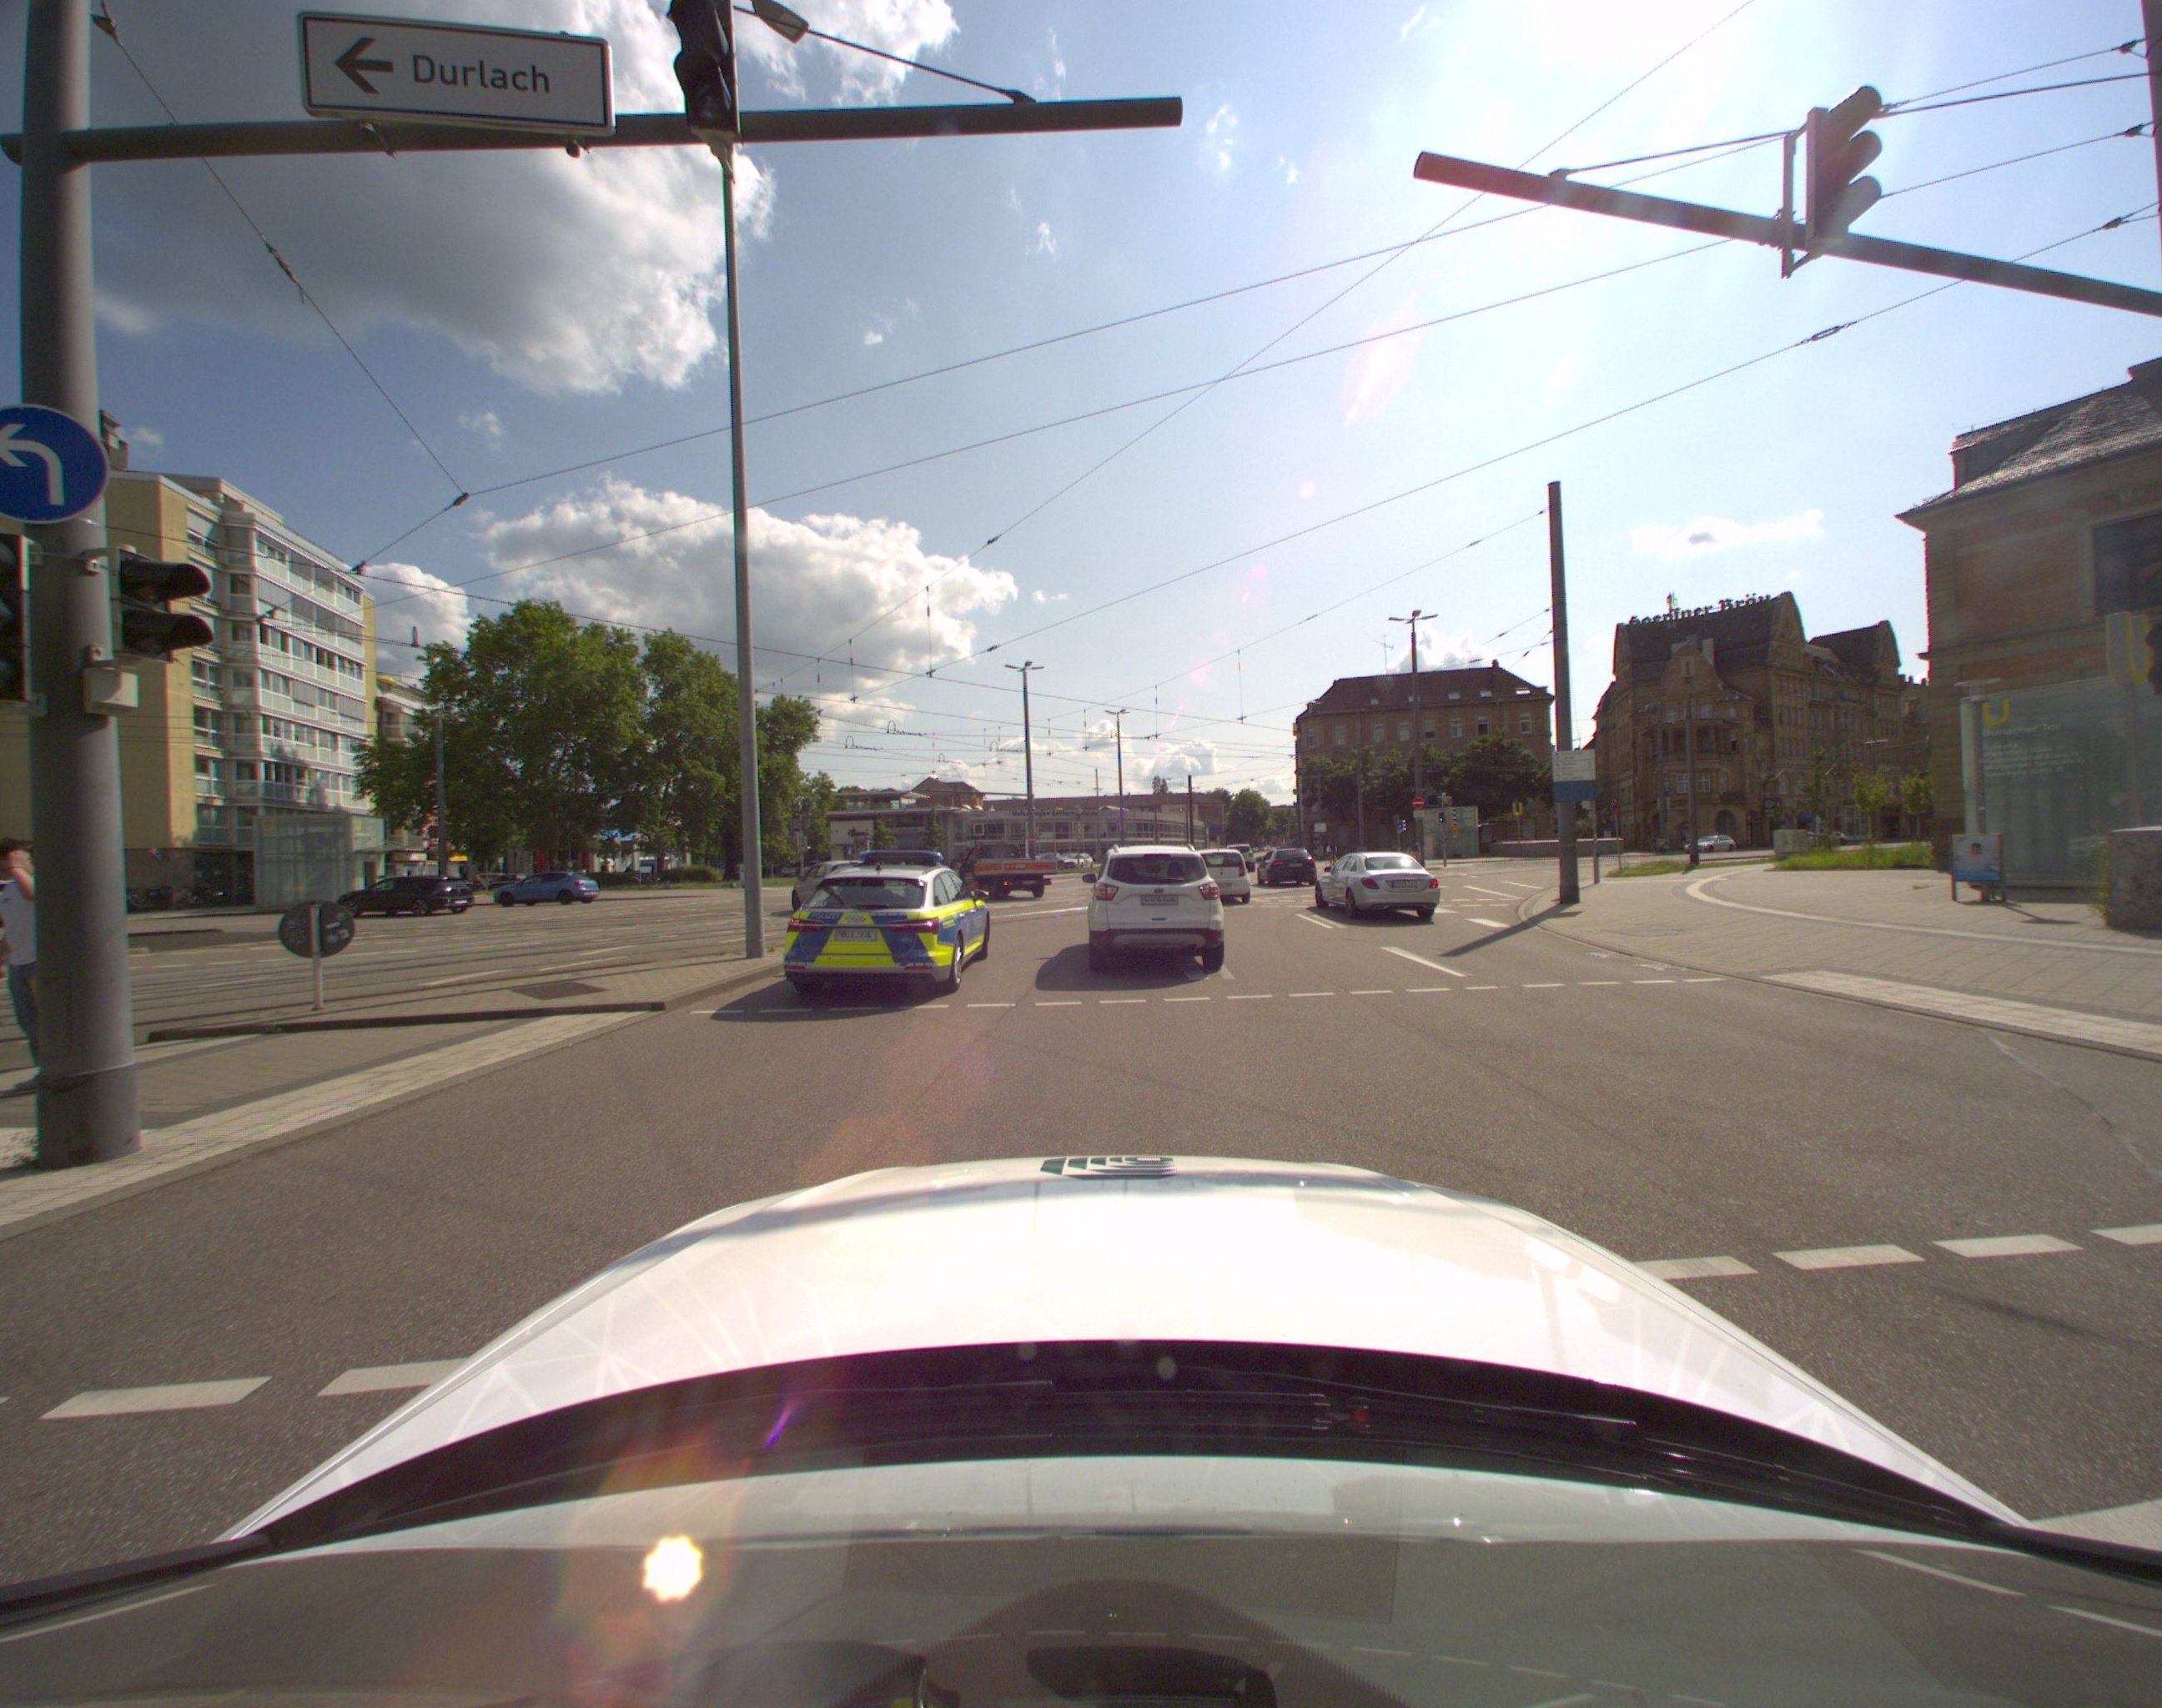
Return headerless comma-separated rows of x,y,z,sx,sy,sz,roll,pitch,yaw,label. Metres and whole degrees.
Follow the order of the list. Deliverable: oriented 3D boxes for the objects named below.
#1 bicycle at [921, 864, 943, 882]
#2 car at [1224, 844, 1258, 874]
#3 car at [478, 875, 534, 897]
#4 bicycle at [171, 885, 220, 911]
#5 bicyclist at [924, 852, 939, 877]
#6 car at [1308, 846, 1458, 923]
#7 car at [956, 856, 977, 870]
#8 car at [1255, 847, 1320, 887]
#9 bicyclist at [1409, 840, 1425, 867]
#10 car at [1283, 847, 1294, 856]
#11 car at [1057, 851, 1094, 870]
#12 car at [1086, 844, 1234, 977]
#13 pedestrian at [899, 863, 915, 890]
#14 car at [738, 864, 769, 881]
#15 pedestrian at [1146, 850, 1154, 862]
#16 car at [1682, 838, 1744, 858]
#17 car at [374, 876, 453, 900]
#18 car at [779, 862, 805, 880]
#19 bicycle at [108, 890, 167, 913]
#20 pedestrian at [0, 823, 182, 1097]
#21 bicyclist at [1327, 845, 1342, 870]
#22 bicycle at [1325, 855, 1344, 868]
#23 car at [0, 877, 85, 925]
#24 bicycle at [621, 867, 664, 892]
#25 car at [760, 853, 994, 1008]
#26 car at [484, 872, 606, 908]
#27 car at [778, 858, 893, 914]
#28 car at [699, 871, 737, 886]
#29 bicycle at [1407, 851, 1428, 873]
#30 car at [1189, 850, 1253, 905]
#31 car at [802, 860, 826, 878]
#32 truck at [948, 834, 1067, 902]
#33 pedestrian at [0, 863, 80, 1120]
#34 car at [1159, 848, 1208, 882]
-10.368,1.320,56.698,0.754,1.192,2.157,-3,0,11,bicycle
9.463,0.304,48.437,1.826,1.652,4.010,-1,-1,9,car
-40.283,2.209,57.173,1.909,1.413,3.978,-2,-1,-16,car
-47.859,2.368,44.056,0.793,1.258,1.805,-1,0,-8,bicycle
-10.398,0.708,56.629,0.754,1.683,0.763,-3,0,10,bicyclist
6.894,0.617,19.167,1.923,1.455,4.762,0,2,2,car
-14.563,1.149,103.484,1.810,1.534,3.921,-3,-1,4,car
7.807,0.474,31.105,1.691,1.372,4.137,-2,0,4,car
15.973,-0.028,38.757,0.629,1.220,0.929,-4,1,21,bicyclist
37.844,-0.489,148.573,1.822,1.652,4.017,-1,-1,16,car
-0.430,0.554,70.589,1.884,1.461,3.988,-3,0,18,car
1.004,0.723,12.241,1.821,1.664,3.954,-1,0,0,car
-11.196,1.444,52.339,0.928,1.744,0.584,0,-1,-25,pedestrian
-39.606,2.213,98.591,1.964,1.937,5.060,-3,-1,-4,car
9.912,0.302,117.351,0.866,1.737,0.882,-1,-1,32,pedestrian
52.138,-0.469,67.152,4.543,1.430,2.031,-2,-2,-23,car
-48.212,2.434,58.884,4.000,1.495,1.791,-2,0,-19,car
-34.782,2.032,98.115,1.966,1.937,4.219,-3,-1,-8,car
-48.747,2.444,42.090,1.812,1.104,0.790,-1,0,-23,bicycle
-7.575,0.756,6.101,0.846,1.917,0.691,-2,-1,-5,pedestrian
15.558,0.212,50.001,0.606,1.451,0.773,-2,0,-2,bicyclist
15.574,0.449,50.048,0.583,0.775,1.620,-2,0,-2,bicycle
-38.472,1.650,28.301,4.532,1.578,2.036,-1,0,-15,car
-26.749,1.540,49.700,2.175,1.414,0.807,-1,0,-20,bicycle
-2.322,0.778,10.604,1.874,1.568,4.614,0,0,0,car
-22.916,1.505,34.907,3.977,1.376,1.740,-1,-1,-3,car
-7.408,0.912,24.355,1.863,1.474,3.953,-2,0,-40,car
-46.870,3.172,105.193,3.969,1.790,1.844,-3,-1,4,car
16.023,0.361,38.766,0.839,0.970,1.971,-2,0,21,bicycle
4.039,0.619,23.887,1.640,1.422,4.009,-2,0,8,car
-32.123,1.858,98.068,1.992,2.014,4.219,-3,-1,-8,car
-2.810,0.495,29.439,2.351,2.155,5.802,-2,0,-26,truck
-7.377,0.900,5.282,0.846,1.648,0.691,-2,-1,-5,pedestrian
4.683,0.492,37.505,1.843,1.419,3.679,-1,0,1,car
